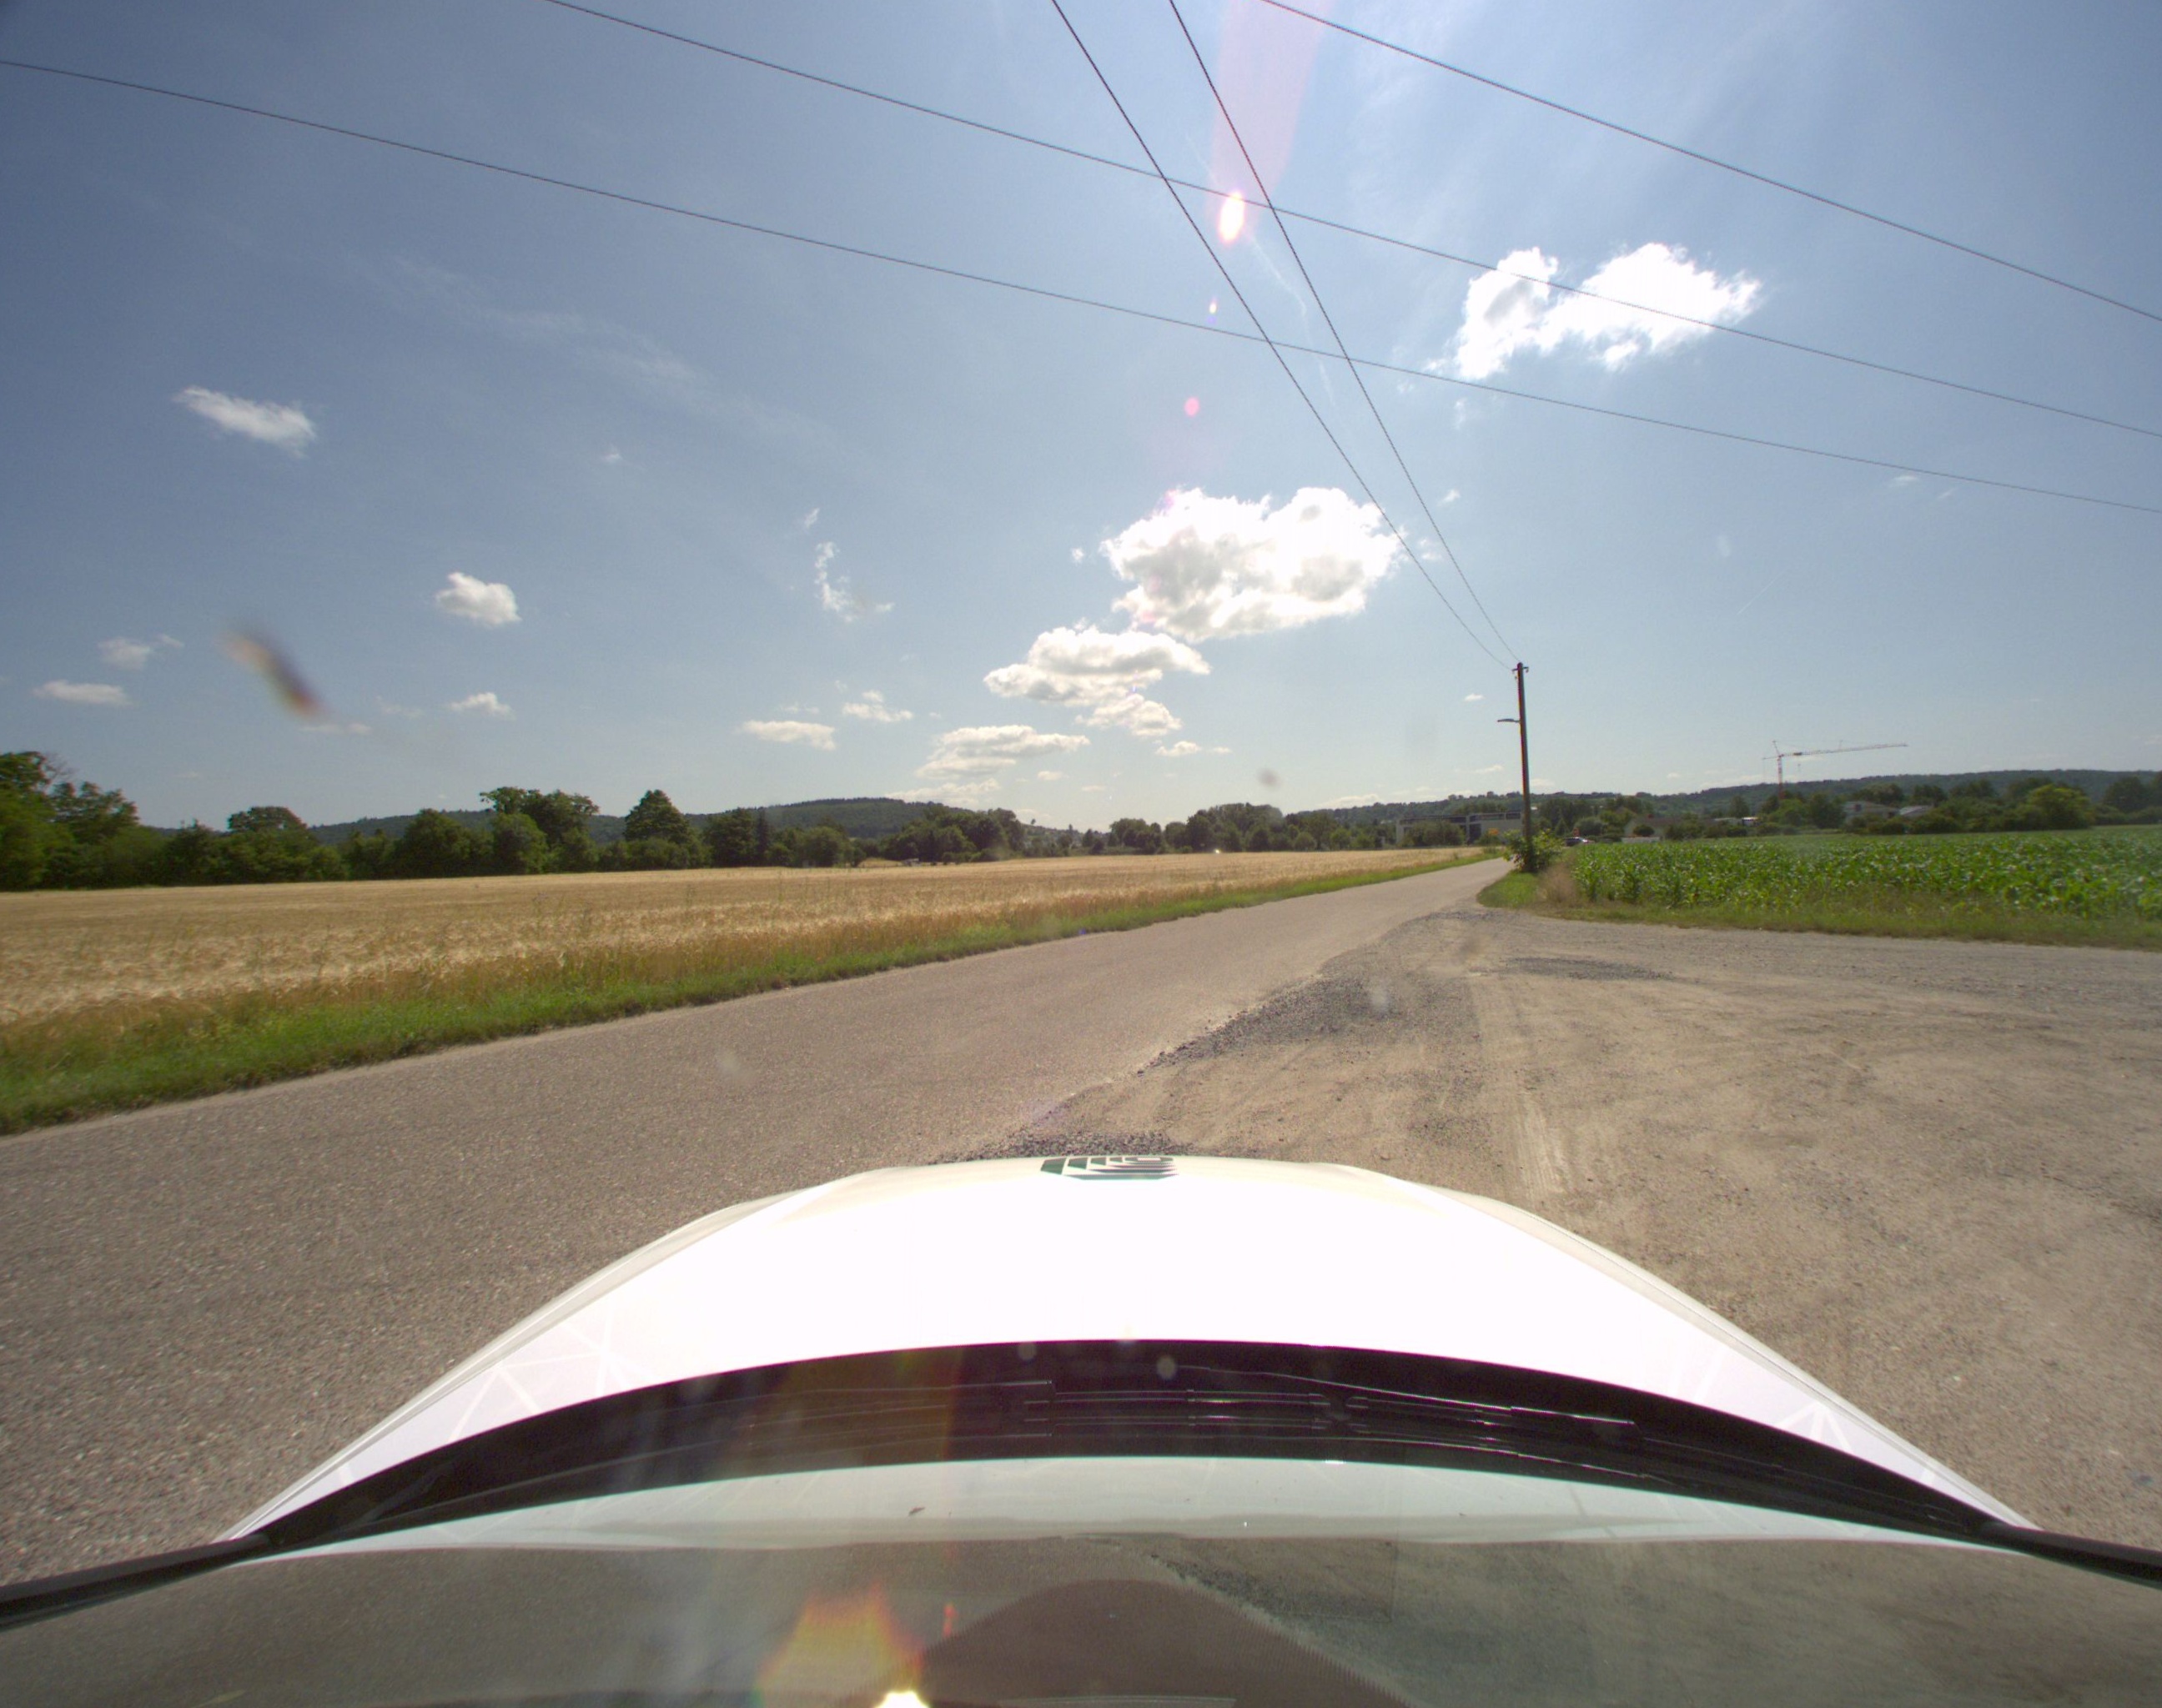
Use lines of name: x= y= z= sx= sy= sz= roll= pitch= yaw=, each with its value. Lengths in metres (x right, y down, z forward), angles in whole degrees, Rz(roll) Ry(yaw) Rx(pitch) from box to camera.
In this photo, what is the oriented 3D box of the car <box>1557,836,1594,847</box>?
car: x=72.687 y=-1.805 z=119.797 sx=1.827 sy=1.502 sz=4.239 roll=-2 pitch=0 yaw=-44
